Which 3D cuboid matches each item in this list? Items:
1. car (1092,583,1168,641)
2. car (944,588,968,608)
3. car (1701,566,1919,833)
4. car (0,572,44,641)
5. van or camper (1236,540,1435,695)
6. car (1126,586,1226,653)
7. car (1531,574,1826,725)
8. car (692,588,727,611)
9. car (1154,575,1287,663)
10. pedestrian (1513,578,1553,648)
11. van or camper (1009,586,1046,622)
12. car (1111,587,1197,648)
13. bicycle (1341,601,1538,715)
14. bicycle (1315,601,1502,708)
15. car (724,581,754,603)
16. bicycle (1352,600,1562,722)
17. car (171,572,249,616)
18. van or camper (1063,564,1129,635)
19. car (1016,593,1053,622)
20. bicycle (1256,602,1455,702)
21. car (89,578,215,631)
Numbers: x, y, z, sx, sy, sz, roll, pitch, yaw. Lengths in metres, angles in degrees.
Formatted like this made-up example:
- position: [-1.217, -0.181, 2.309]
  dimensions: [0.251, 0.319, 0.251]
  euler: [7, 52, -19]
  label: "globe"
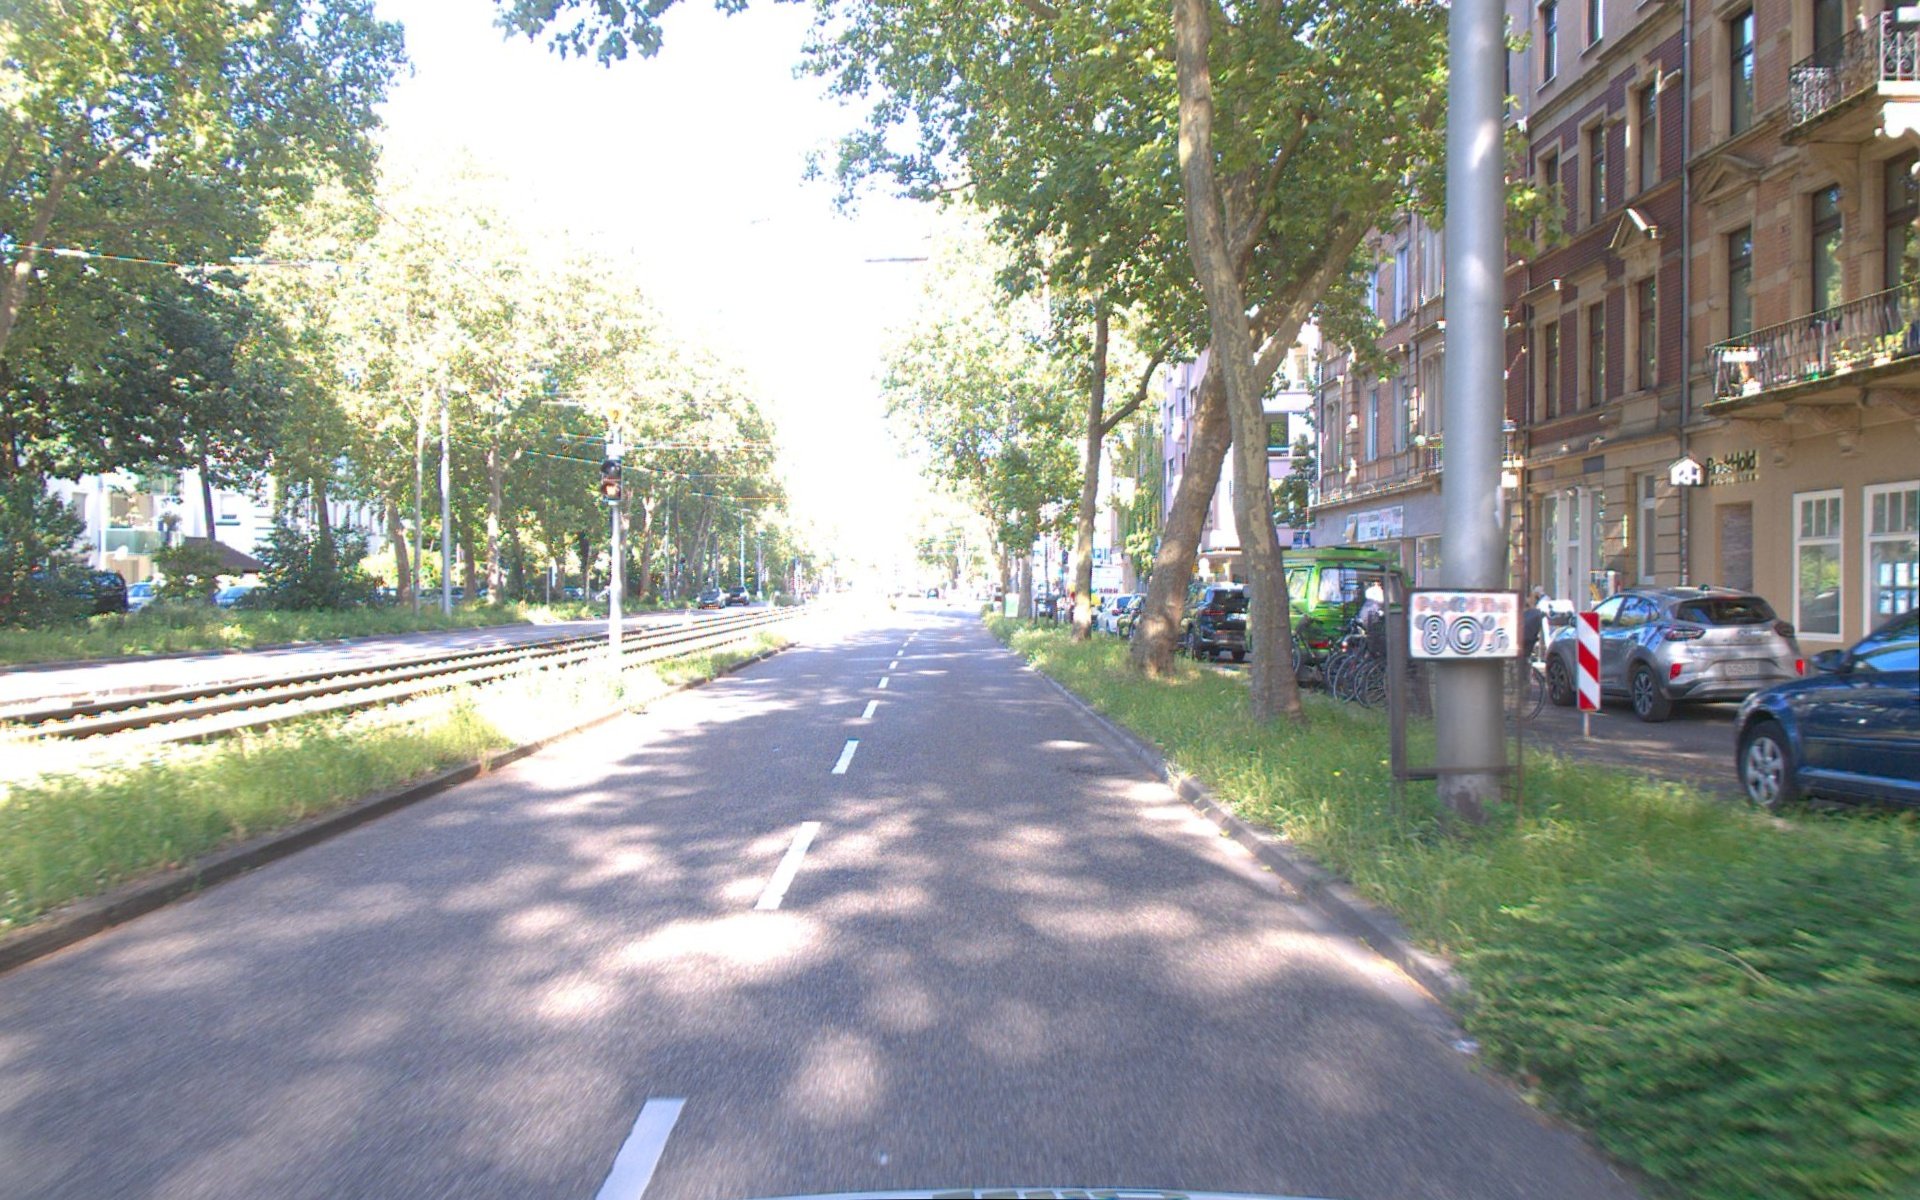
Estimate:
- position: [5.155, 0.345, 50.659]
  dimensions: [1.718, 1.599, 4.183]
  euler: [3, 0, -2]
  label: "car"
- position: [-0.351, -0.157, 140.280]
  dimensions: [1.980, 1.691, 3.999]
  euler: [1, 0, -2]
  label: "car"
- position: [6.049, 0.579, 9.283]
  dimensions: [1.796, 1.432, 4.191]
  euler: [3, 0, -1]
  label: "car"
- position: [-26.671, 0.168, 44.040]
  dimensions: [2.066, 1.840, 4.736]
  euler: [0, 1, -2]
  label: "car"
- position: [5.822, 0.249, 26.275]
  dimensions: [1.797, 2.134, 4.772]
  euler: [3, 0, -3]
  label: "van or camper"
- position: [5.280, 0.446, 40.972]
  dimensions: [1.702, 1.489, 4.363]
  euler: [3, 0, -2]
  label: "car"
- position: [8.792, 0.554, 20.656]
  dimensions: [1.718, 1.606, 4.183]
  euler: [3, 0, -2]
  label: "car"
- position: [-17.916, -0.044, 118.526]
  dimensions: [1.759, 1.534, 4.338]
  euler: [-2, 0, 0]
  label: "car"
- position: [5.542, 0.381, 35.790]
  dimensions: [1.853, 1.676, 4.798]
  euler: [3, 0, -2]
  label: "car"
- position: [12.422, 0.280, 35.874]
  dimensions: [0.585, 1.502, 0.767]
  euler: [0, 0, 0]
  label: "pedestrian"
- position: [3.909, 0.225, 96.909]
  dimensions: [1.802, 1.997, 5.125]
  euler: [1, 0, -1]
  label: "van or camper"
- position: [5.317, 0.454, 45.719]
  dimensions: [1.718, 1.522, 4.183]
  euler: [3, 0, -2]
  label: "car"
- position: [5.858, 0.692, 20.303]
  dimensions: [2.120, 1.317, 0.983]
  euler: [1, 0, -1]
  label: "bicycle"
- position: [5.839, 0.700, 21.590]
  dimensions: [2.125, 1.317, 0.980]
  euler: [1, 0, -12]
  label: "bicycle"
- position: [-19.507, -0.699, 145.921]
  dimensions: [1.953, 1.903, 4.872]
  euler: [-1, 0, 0]
  label: "car"
- position: [5.725, 0.688, 19.150]
  dimensions: [2.119, 1.317, 0.983]
  euler: [1, 0, 1]
  label: "bicycle"
- position: [-36.137, -0.283, 79.782]
  dimensions: [1.953, 2.049, 4.000]
  euler: [0, 0, 0]
  label: "car"
- position: [5.192, -0.015, 63.951]
  dimensions: [2.139, 2.523, 6.269]
  euler: [2, 0, 2]
  label: "van or camper"
- position: [4.099, 0.422, 91.422]
  dimensions: [1.649, 1.540, 3.665]
  euler: [1, 0, -3]
  label: "car"
- position: [5.472, 0.714, 22.957]
  dimensions: [2.501, 1.317, 0.973]
  euler: [1, 0, -8]
  label: "bicycle"
- position: [-27.152, 0.158, 55.789]
  dimensions: [1.987, 1.626, 5.084]
  euler: [-2, 0, -4]
  label: "car"
